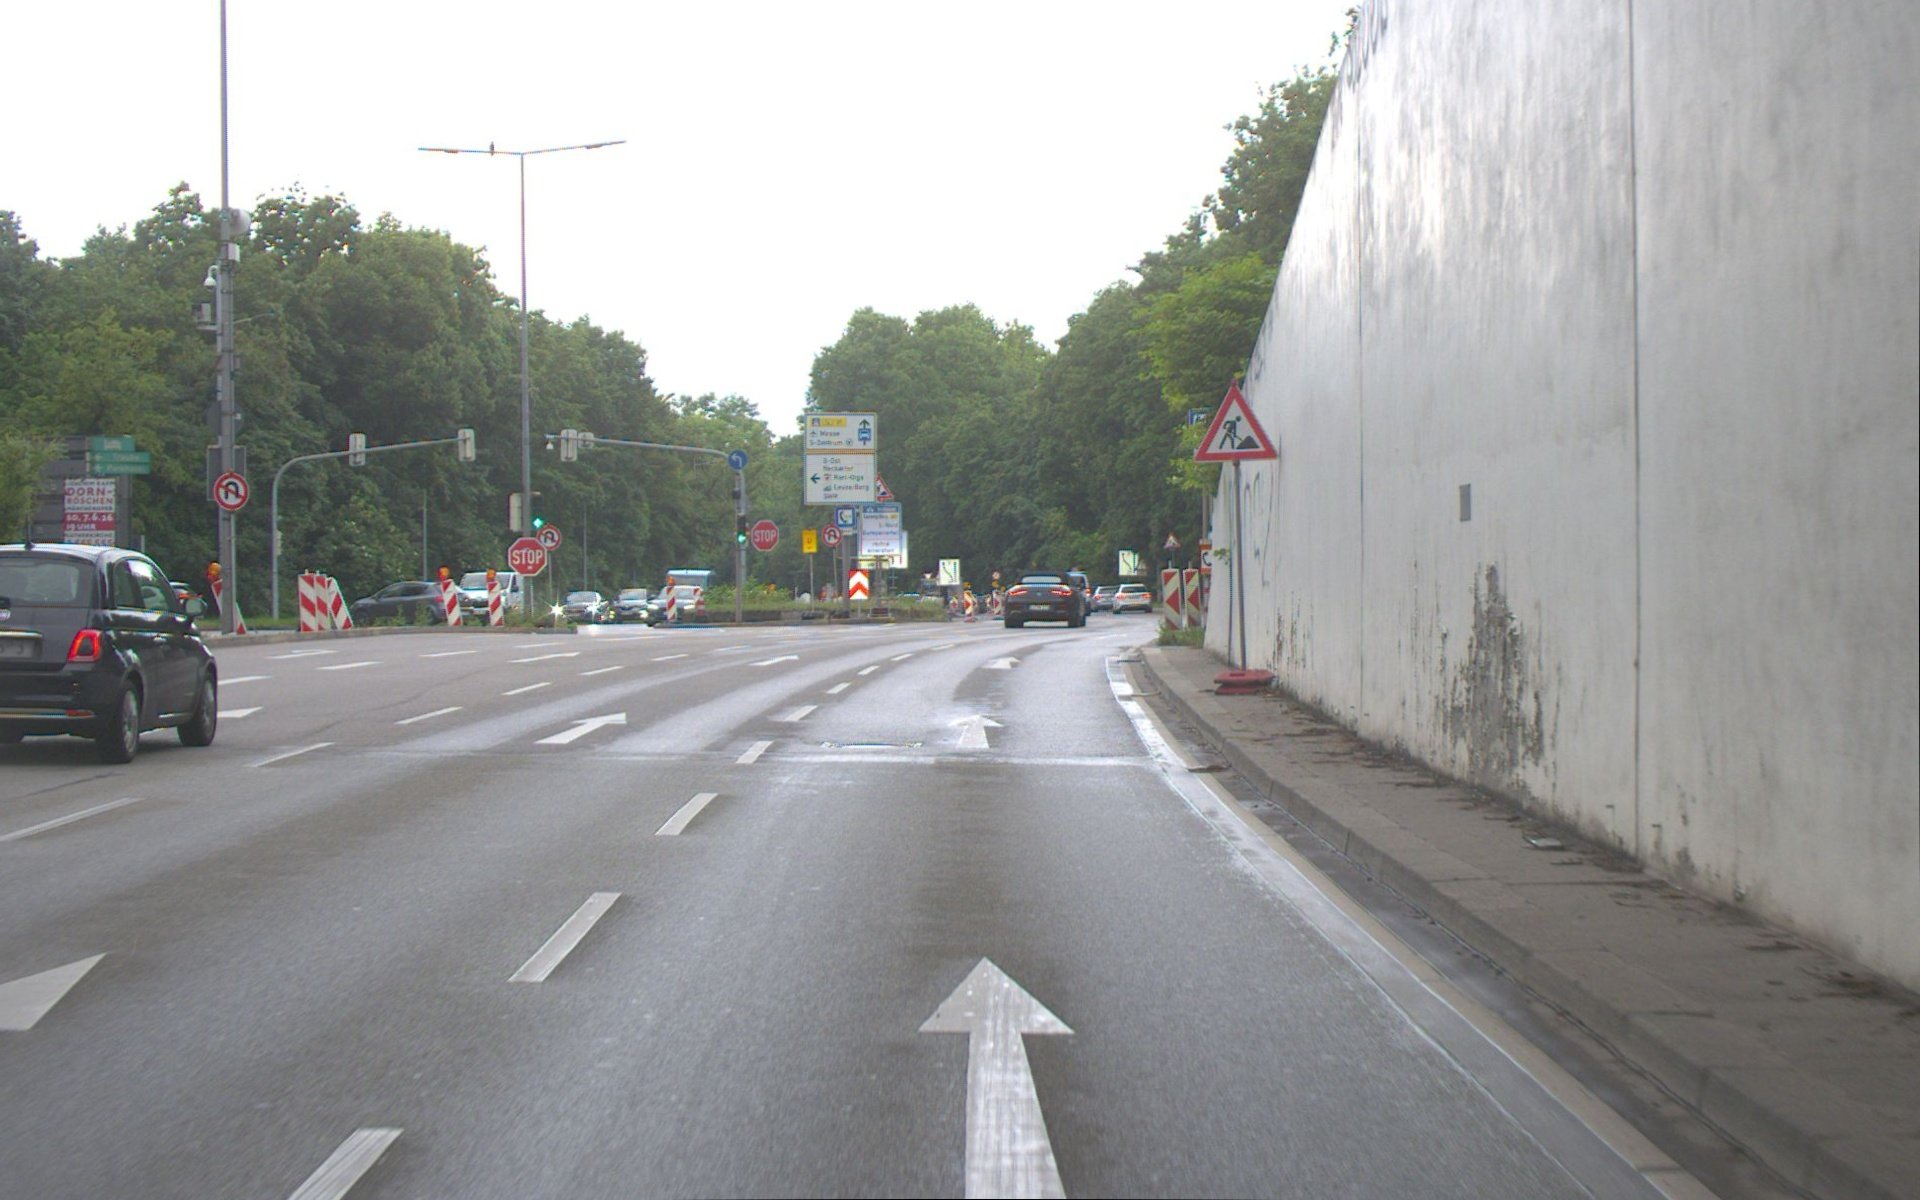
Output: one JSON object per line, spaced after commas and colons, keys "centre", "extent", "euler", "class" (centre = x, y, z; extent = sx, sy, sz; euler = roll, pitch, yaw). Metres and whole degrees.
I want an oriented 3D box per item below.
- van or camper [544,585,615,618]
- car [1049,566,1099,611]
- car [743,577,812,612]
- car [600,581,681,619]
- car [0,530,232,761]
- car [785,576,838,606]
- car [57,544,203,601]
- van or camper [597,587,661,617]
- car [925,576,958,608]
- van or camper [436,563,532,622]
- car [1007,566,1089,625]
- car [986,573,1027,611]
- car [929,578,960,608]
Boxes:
{"centre": [-15.272, 0.056, 138.253], "extent": [2.009, 1.297, 4.091], "euler": [1, 0, 6], "class": "van or camper"}
{"centre": [5.229, -0.508, 158.458], "extent": [1.993, 2.007, 4.000], "euler": [1, 0, -2], "class": "car"}
{"centre": [-6.986, -0.188, 131.936], "extent": [2.009, 1.297, 4.314], "euler": [1, 0, 6], "class": "car"}
{"centre": [-11.193, -0.002, 120.780], "extent": [2.009, 1.297, 4.314], "euler": [1, 0, 6], "class": "car"}
{"centre": [-6.369, 0.263, 24.302], "extent": [1.612, 1.449, 3.573], "euler": [2, 1, 1], "class": "car"}
{"centre": [-6.660, -0.395, 155.005], "extent": [2.009, 1.297, 4.315], "euler": [1, 0, 3], "class": "car"}
{"centre": [-25.233, -0.851, 104.583], "extent": [3.987, 1.678, 1.898], "euler": [0, 1, 2], "class": "car"}
{"centre": [-14.554, 0.100, 151.432], "extent": [2.009, 1.297, 4.091], "euler": [1, 0, 6], "class": "van or camper"}
{"centre": [-1.206, -0.529, 220.524], "extent": [1.993, 2.007, 4.000], "euler": [1, 0, -2], "class": "car"}
{"centre": [-16.681, -0.261, 120.657], "extent": [2.129, 2.007, 5.313], "euler": [1, 0, 6], "class": "van or camper"}
{"centre": [2.184, -0.101, 86.685], "extent": [1.993, 1.443, 4.314], "euler": [1, 0, 1], "class": "car"}
{"centre": [2.522, -0.459, 188.140], "extent": [1.993, 2.007, 4.000], "euler": [1, 0, -2], "class": "car"}
{"centre": [-1.082, -0.486, 235.962], "extent": [1.993, 2.007, 4.000], "euler": [1, 0, -2], "class": "car"}
